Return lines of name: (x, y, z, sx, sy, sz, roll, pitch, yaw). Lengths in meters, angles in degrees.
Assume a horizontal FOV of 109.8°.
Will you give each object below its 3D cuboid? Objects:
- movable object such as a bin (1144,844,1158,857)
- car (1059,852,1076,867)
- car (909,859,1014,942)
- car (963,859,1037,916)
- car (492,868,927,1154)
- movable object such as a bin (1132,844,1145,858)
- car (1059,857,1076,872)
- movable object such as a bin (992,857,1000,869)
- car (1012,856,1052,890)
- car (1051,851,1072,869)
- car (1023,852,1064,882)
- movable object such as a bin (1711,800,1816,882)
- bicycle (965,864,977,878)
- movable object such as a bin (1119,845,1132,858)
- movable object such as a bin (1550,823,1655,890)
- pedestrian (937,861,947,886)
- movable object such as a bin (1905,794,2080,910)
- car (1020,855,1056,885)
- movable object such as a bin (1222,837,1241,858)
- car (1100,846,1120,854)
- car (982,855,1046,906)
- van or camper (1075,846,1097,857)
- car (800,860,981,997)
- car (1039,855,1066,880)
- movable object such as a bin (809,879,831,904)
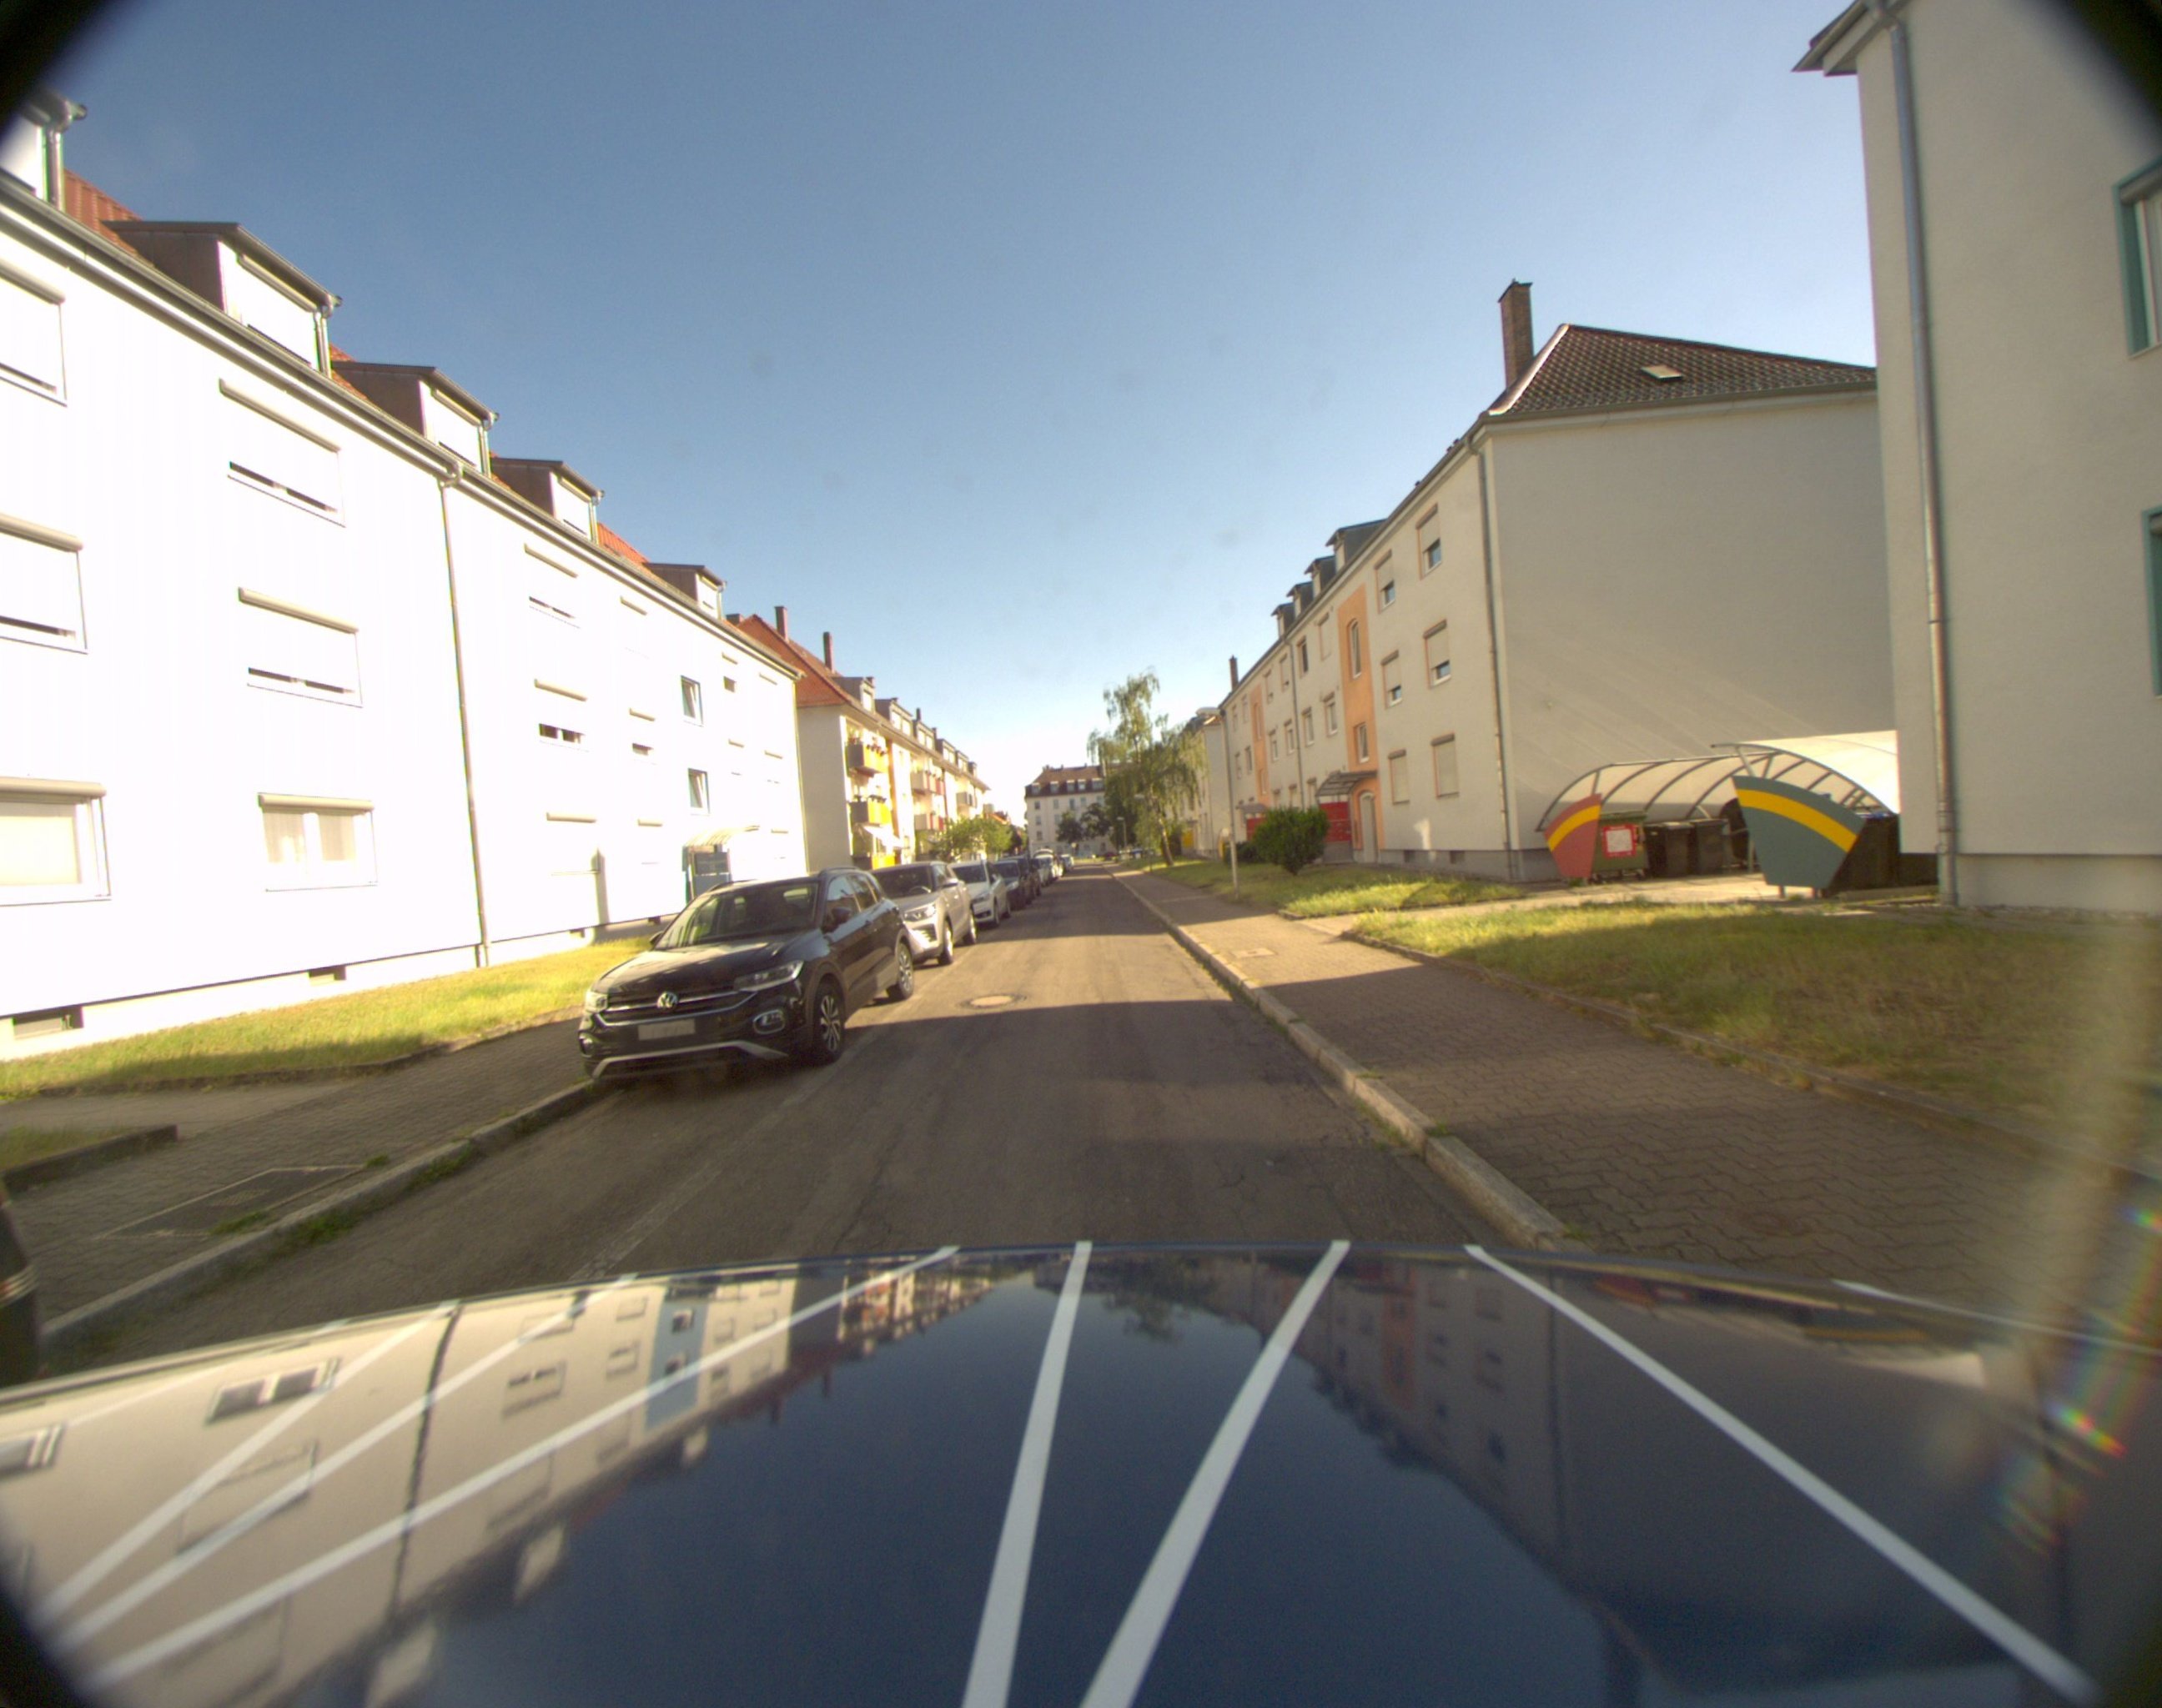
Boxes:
movable object such as a bin: (8.485, -0.430, 91.830, 1.363, 1.445, 1.073, -8, 1, 1)
car: (-1.545, 0.601, 90.498, 1.805, 1.583, 4.581, -5, 0, 0)
car: (-2.718, 0.989, 18.232, 1.694, 1.566, 4.434, -5, 0, 0)
car: (-2.468, 0.979, 24.081, 1.645, 1.490, 4.156, -4, 0, 2)
car: (-2.857, 1.063, 7.136, 1.716, 1.586, 4.397, -7, 0, 1)
movable object such as a bin: (6.939, -0.352, 91.823, 1.358, 1.451, 1.082, -8, 1, 1)
car: (-1.490, 1.161, 85.189, 1.695, 1.410, 4.097, -6, 0, 0)
movable object such as a bin: (-11.178, 1.240, 99.511, 0.866, 1.511, 0.922, -3, 1, -1)
car: (-2.481, 0.943, 39.357, 1.483, 1.520, 2.941, -6, 0, 5)
car: (-1.878, 0.582, 73.118, 1.717, 1.501, 3.853, -7, 0, 0)
car: (-2.363, 0.799, 48.950, 1.998, 1.603, 4.996, -6, 0, 3)
movable object such as a bin: (13.081, -0.250, 14.588, 1.062, 1.434, 0.947, -5, 1, 0)
bicycle: (-8.876, 1.353, 61.286, 0.521, 1.043, 2.288, -2, 0, 1)
movable object such as a bin: (5.385, -0.325, 91.771, 1.318, 1.451, 1.198, -8, 1, 1)
movable object such as a bin: (10.037, 0.048, 14.671, 1.316, 1.161, 0.910, -4, 0, 0)
pedestrian: (-8.584, 1.223, 46.989, 0.451, 1.487, 0.360, -3, 2, 2)
movable object such as a bin: (11.715, -0.029, 9.796, 1.254, 1.348, 0.905, -4, 1, -10)
car: (-2.419, 0.864, 43.626, 1.698, 1.482, 3.984, -6, 0, 0)
movable object such as a bin: (10.672, -0.439, 53.842, 1.087, 1.398, 0.813, -5, 1, 1)
car: (6.025, -0.887, 157.076, 3.996, 1.477, 1.722, -3, 1, 2)
car: (-2.473, 0.936, 29.178, 1.787, 1.638, 4.469, -6, 0, 2)
van or camper: (1.018, -0.527, 157.462, 4.355, 1.852, 2.000, -3, 1, -1)
car: (-2.840, 1.015, 12.406, 1.755, 1.608, 4.451, -6, 0, -1)
car: (-2.018, 0.942, 54.952, 1.776, 1.496, 4.480, -5, 0, -1)
movable object such as a bin: (-11.499, 1.637, 33.465, 0.644, 1.029, 0.757, -3, 3, 1)
